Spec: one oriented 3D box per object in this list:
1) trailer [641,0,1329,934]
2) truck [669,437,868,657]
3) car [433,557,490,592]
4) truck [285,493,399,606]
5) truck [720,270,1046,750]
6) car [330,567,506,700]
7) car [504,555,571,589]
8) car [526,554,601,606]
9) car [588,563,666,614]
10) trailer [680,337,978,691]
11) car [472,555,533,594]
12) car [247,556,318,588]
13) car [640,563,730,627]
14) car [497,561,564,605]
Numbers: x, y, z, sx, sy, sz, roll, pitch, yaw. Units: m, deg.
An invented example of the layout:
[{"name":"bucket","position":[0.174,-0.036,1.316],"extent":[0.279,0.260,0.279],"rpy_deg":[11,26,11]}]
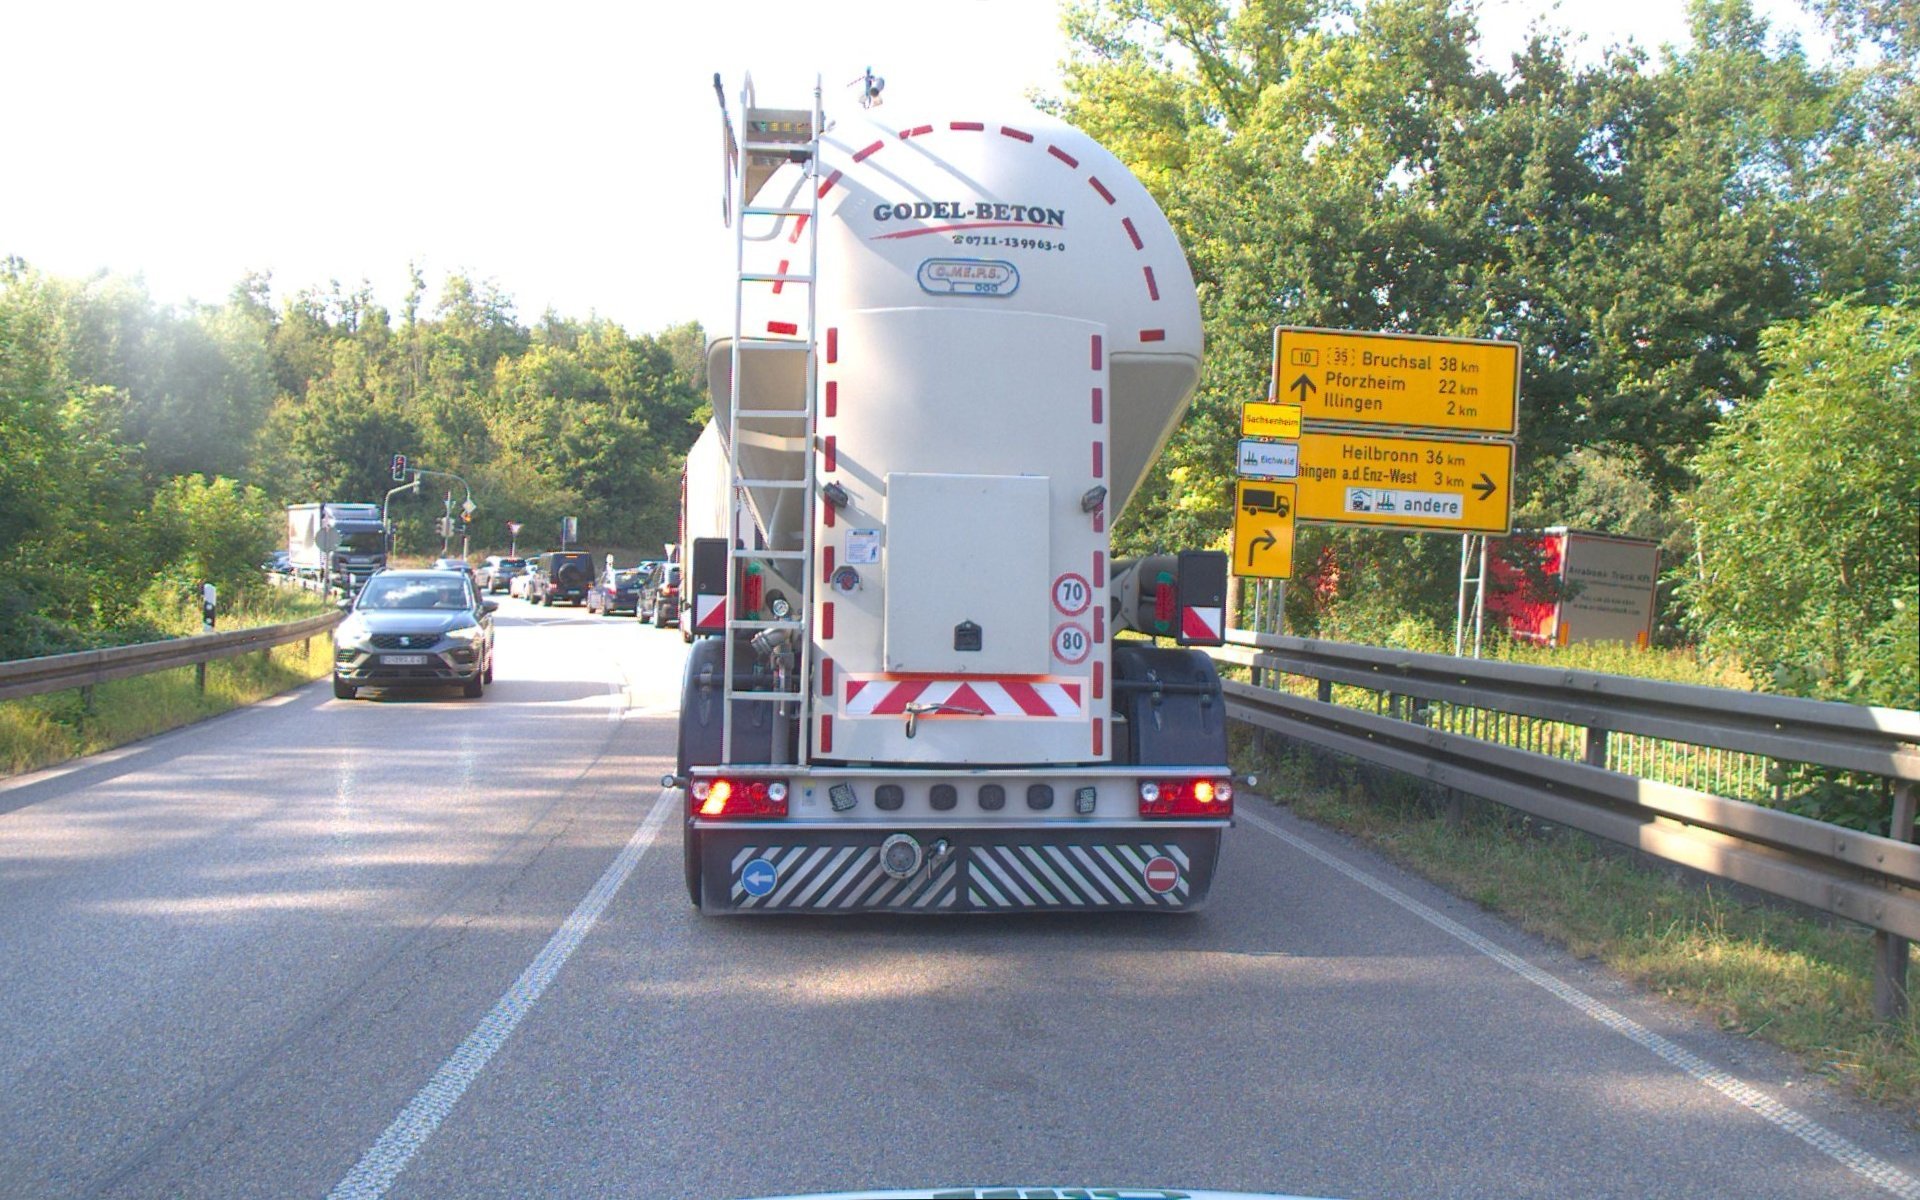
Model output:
[{"name":"trailer","position":[-0.369,-0.911,11.681],"extent":[2.831,4.532,9.593],"rpy_deg":[1,0,-6]},{"name":"truck","position":[-4.268,-1.042,35.449],"extent":[3.391,4.157,6.468],"rpy_deg":[2,0,-14]},{"name":"car","position":[-24.931,-1.289,82.593],"extent":[1.847,1.592,3.961],"rpy_deg":[3,0,-29]},{"name":"truck","position":[-27.896,-2.174,74.368],"extent":[2.981,4.665,10.135],"rpy_deg":[1,0,-31]},{"name":"truck","position":[-1.019,-0.778,17.305],"extent":[2.771,4.105,5.885],"rpy_deg":[1,0,-7]},{"name":"car","position":[-7.123,0.362,22.089],"extent":[1.835,1.592,3.988],"rpy_deg":[0,1,-12]},{"name":"car","position":[-28.792,-1.906,112.744],"extent":[3.963,2.048,1.971],"rpy_deg":[3,0,-41]},{"name":"car","position":[-14.944,-0.801,62.231],"extent":[1.933,1.883,3.966],"rpy_deg":[-1,2,-26]},{"name":"car","position":[-10.816,-0.386,53.585],"extent":[1.841,1.592,3.974],"rpy_deg":[0,1,-21]},{"name":"trailer","position":[-2.800,-1.168,28.533],"extent":[3.483,4.591,12.947],"rpy_deg":[2,0,-11]},{"name":"car","position":[-20.797,-1.163,75.111],"extent":[1.846,1.622,3.965],"rpy_deg":[3,0,-27]},{"name":"car","position":[-37.548,-1.539,91.766],"extent":[1.828,1.584,4.003],"rpy_deg":[3,0,8]},{"name":"car","position":[-7.551,-0.168,45.215],"extent":[1.839,1.656,3.979],"rpy_deg":[0,1,-18]},{"name":"car","position":[-18.208,-0.723,70.044],"extent":[1.846,1.712,3.965],"rpy_deg":[3,0,-27]}]
